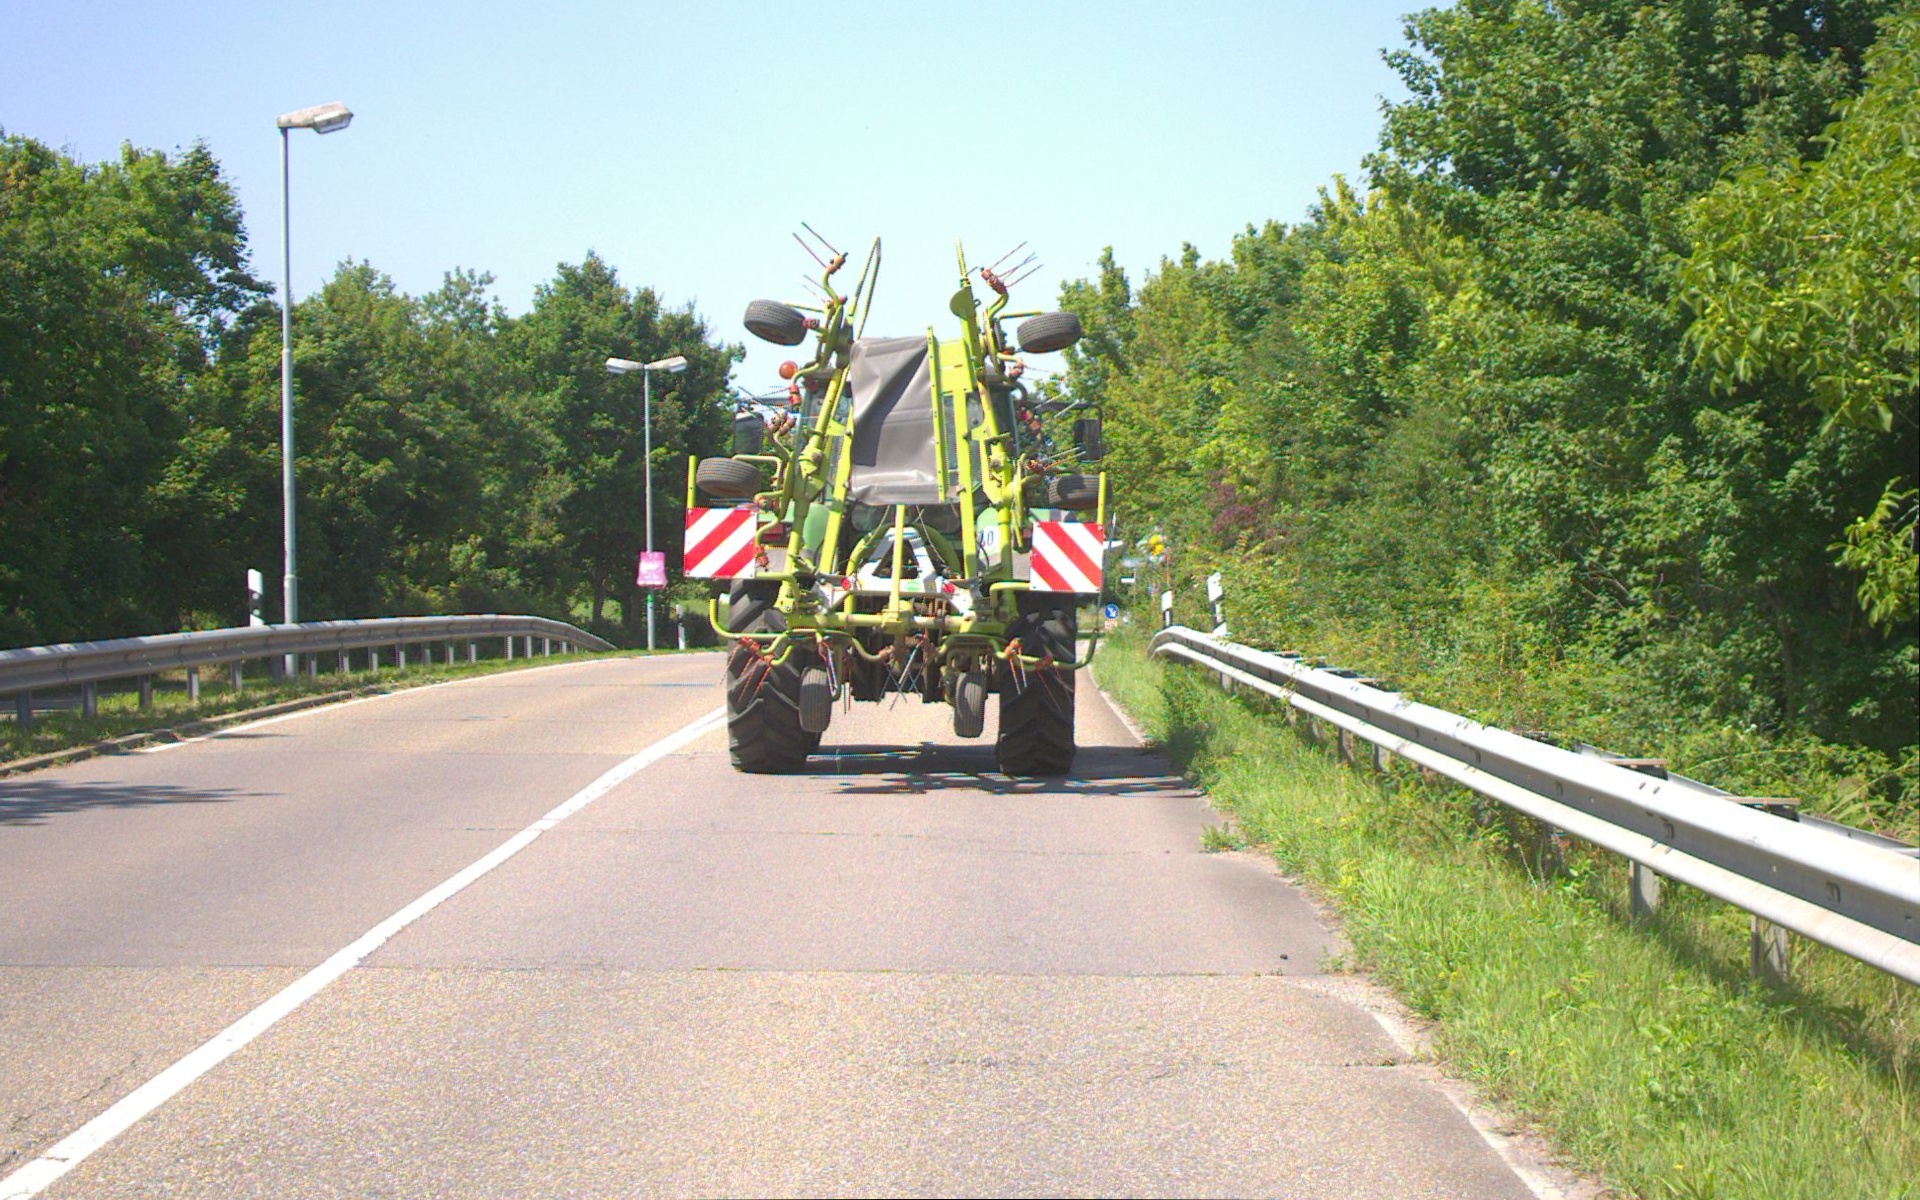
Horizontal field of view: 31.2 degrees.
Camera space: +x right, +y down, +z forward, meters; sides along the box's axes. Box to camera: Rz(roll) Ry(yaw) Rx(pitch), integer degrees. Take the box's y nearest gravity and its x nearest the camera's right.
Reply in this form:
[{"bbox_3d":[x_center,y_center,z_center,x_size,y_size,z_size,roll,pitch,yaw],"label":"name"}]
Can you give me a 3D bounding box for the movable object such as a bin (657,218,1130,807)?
[{"bbox_3d":[-0.357,-0.580,22.918,2.755,3.432,5.670,0,1,1],"label":"movable object such as a bin"}]
